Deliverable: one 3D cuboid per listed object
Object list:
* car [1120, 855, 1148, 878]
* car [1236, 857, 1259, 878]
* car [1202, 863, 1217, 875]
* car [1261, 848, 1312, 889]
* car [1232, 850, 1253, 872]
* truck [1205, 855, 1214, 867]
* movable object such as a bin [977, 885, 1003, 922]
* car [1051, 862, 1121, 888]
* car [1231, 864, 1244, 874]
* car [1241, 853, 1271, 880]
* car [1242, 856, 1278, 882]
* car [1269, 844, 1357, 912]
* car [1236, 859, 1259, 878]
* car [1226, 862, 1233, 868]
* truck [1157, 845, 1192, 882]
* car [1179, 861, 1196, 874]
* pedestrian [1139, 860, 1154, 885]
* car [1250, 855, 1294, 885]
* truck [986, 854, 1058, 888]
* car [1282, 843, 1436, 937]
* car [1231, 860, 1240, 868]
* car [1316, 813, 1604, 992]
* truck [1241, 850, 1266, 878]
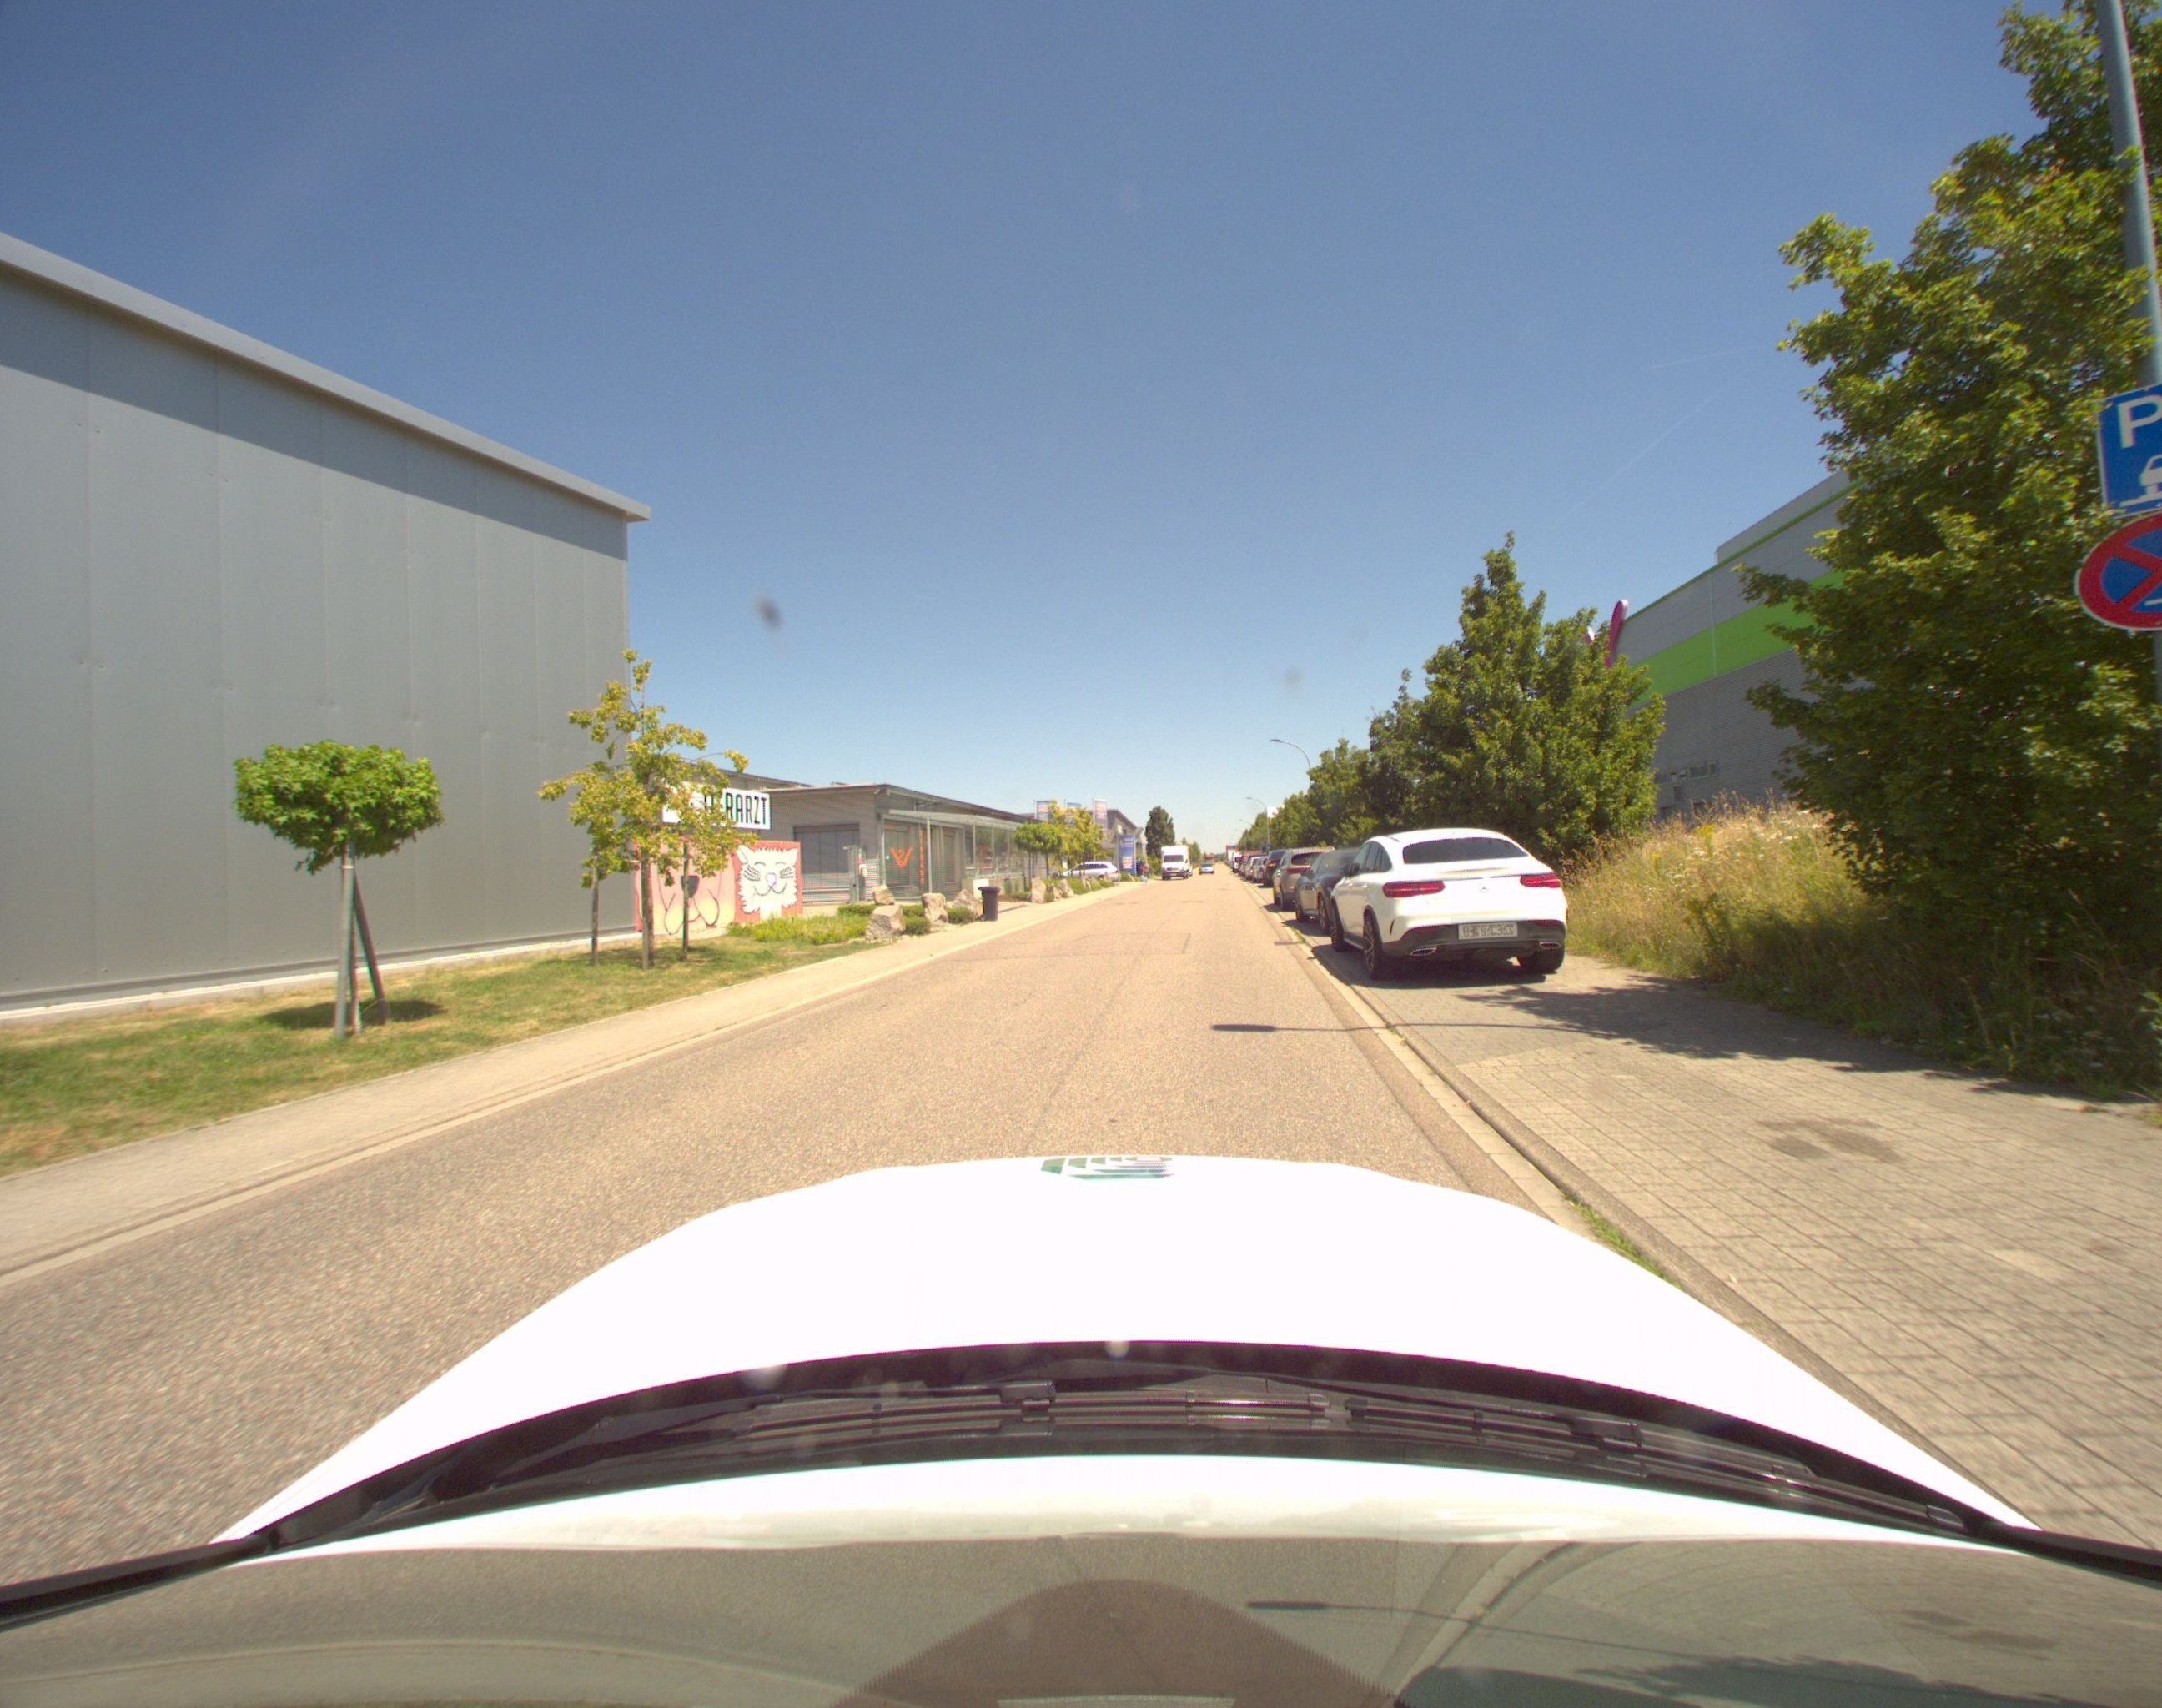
[{"bbox_3d":[4.986,1.167,75.594,1.981,1.956,5.231,-2,-1,9],"label":"car"},{"bbox_3d":[16.116,1.308,78.890,1.981,1.885,5.169,-4,-2,10],"label":"car"},{"bbox_3d":[16.221,1.907,102.743,1.772,1.422,4.425,-4,-2,9],"label":"car"},{"bbox_3d":[9.704,0.666,38.817,1.937,1.701,4.558,-4,-1,10],"label":"car"},{"bbox_3d":[19.804,0.878,99.808,2.252,2.497,6.171,-3,-1,12],"label":"car"},{"bbox_3d":[39.278,2.142,249.568,2.434,3.513,8.294,-4,-1,9],"label":"truck"},{"bbox_3d":[-2.469,1.335,22.124,0.568,0.949,0.512,-2,-1,4],"label":"movable object such as a bin"},{"bbox_3d":[0.371,1.340,52.820,4.237,1.518,1.870,-2,-1,8],"label":"car"},{"bbox_3d":[24.939,2.381,129.523,1.696,1.505,4.724,-3,-2,15],"label":"car"},{"bbox_3d":[12.353,0.869,57.566,1.800,1.725,4.787,-4,-1,10],"label":"car"},{"bbox_3d":[11.373,0.960,52.074,1.705,1.483,4.782,-4,-1,7],"label":"car"},{"bbox_3d":[6.441,0.636,23.050,1.794,1.636,4.470,-4,-1,9],"label":"car"},{"bbox_3d":[14.916,1.314,73.097,1.728,1.531,4.009,-4,-2,8],"label":"car"},{"bbox_3d":[38.655,2.771,212.105,1.575,1.410,3.509,-3,-1,9],"label":"car"},{"bbox_3d":[8.021,0.859,69.443,2.347,2.860,6.432,-4,-2,10],"label":"truck"},{"bbox_3d":[11.966,1.518,91.317,1.719,1.458,4.503,-2,-1,9],"label":"car"},{"bbox_3d":[4.173,1.203,51.931,0.893,1.574,0.788,0,-1,10],"label":"pedestrian"},{"bbox_3d":[10.687,0.878,45.919,1.795,1.483,4.782,-4,-1,7],"label":"car"},{"bbox_3d":[-6.405,1.841,87.135,7.959,3.557,2.603,-2,-1,39],"label":"truck"},{"bbox_3d":[5.411,0.656,16.509,1.894,1.529,4.637,-4,-1,6],"label":"car"},{"bbox_3d":[31.318,2.047,165.279,1.708,1.450,3.655,-3,-1,9],"label":"car"},{"bbox_3d":[4.536,0.527,10.703,2.131,1.698,4.797,-4,-1,9],"label":"car"},{"bbox_3d":[14.509,0.829,68.658,1.669,2.181,4.401,-4,-2,9],"label":"truck"}]
